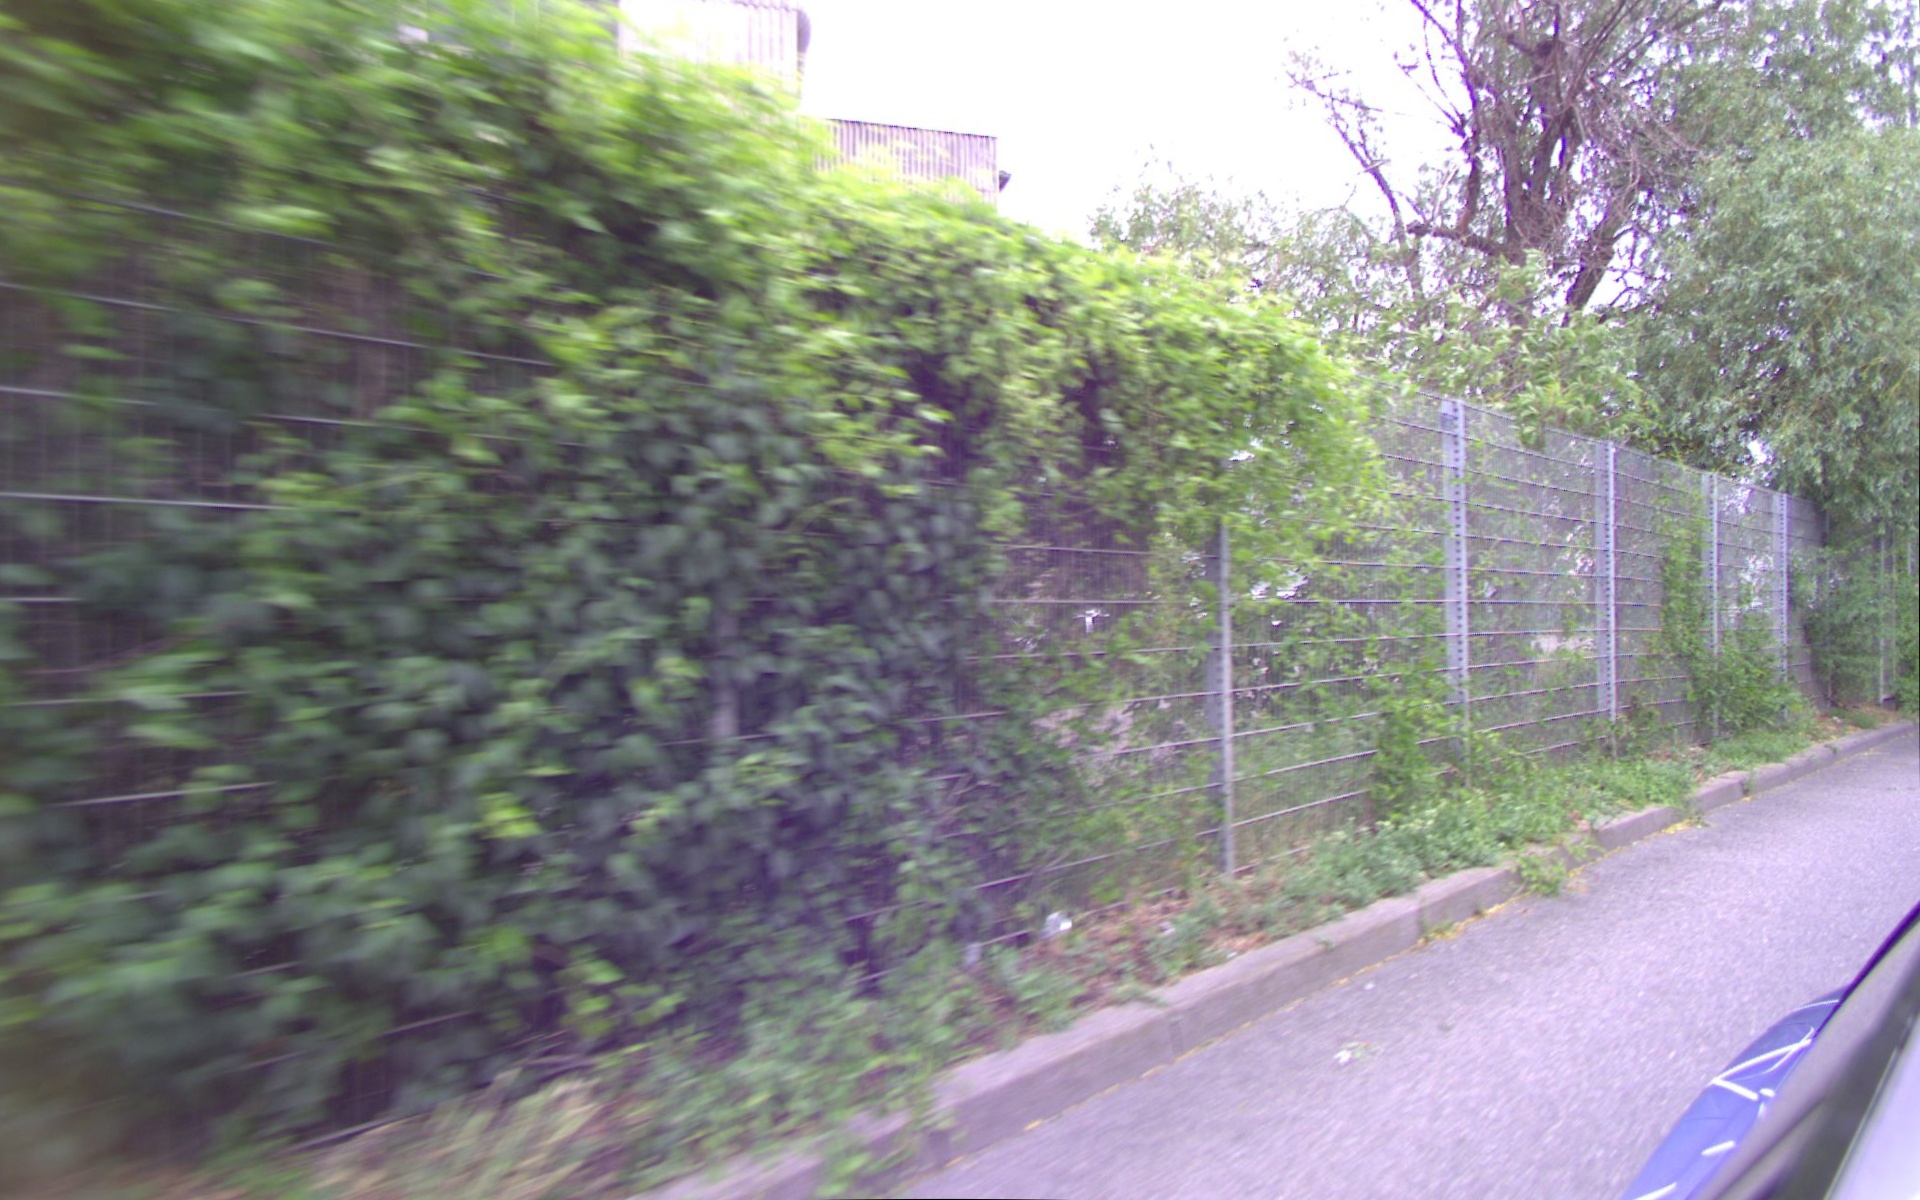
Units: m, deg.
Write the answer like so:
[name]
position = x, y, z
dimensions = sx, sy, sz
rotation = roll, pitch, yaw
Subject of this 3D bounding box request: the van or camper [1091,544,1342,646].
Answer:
[van or camper]
position = 12.688, -0.297, 51.715
dimensions = 5.381, 4.587, 11.848
rotation = -2, 1, -33
